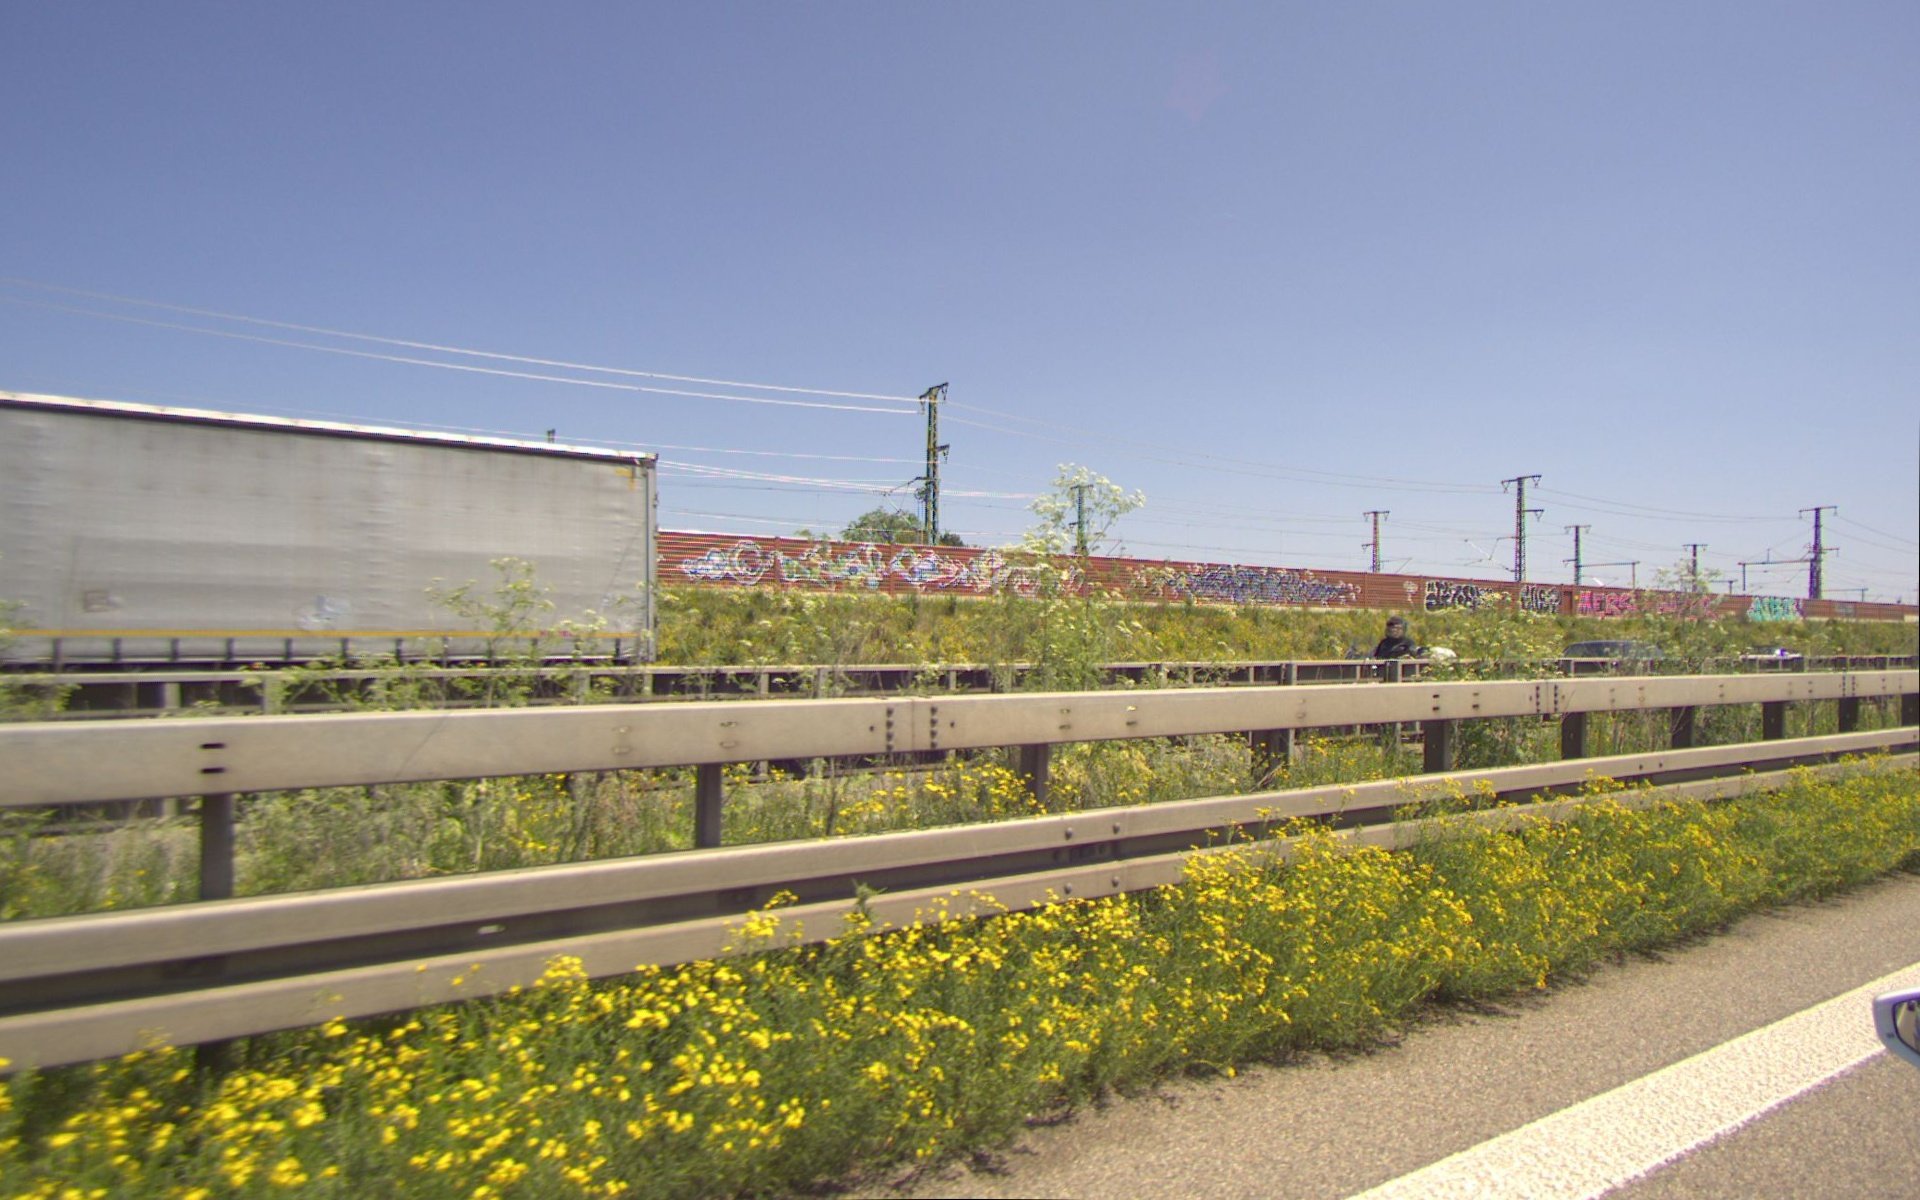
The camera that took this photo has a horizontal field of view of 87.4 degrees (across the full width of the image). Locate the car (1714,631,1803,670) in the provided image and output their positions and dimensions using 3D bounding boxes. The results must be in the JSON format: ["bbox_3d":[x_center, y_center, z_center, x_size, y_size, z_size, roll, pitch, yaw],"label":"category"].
[{"bbox_3d":[34.199,2.151,43.010,3.764,1.565,1.712,1,-1,-30],"label":"car"}]

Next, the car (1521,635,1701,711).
[{"bbox_3d":[14.326,1.546,22.083,3.797,1.499,1.808,1,-1,-30],"label":"car"}]

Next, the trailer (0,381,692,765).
[{"bbox_3d":[-10.340,-0.243,12.372,13.370,4.127,2.717,2,-2,-30],"label":"trailer"}]

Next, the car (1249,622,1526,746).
[{"bbox_3d":[6.010,1.094,14.036,3.769,1.499,1.638,1,-1,-30],"label":"car"}]
